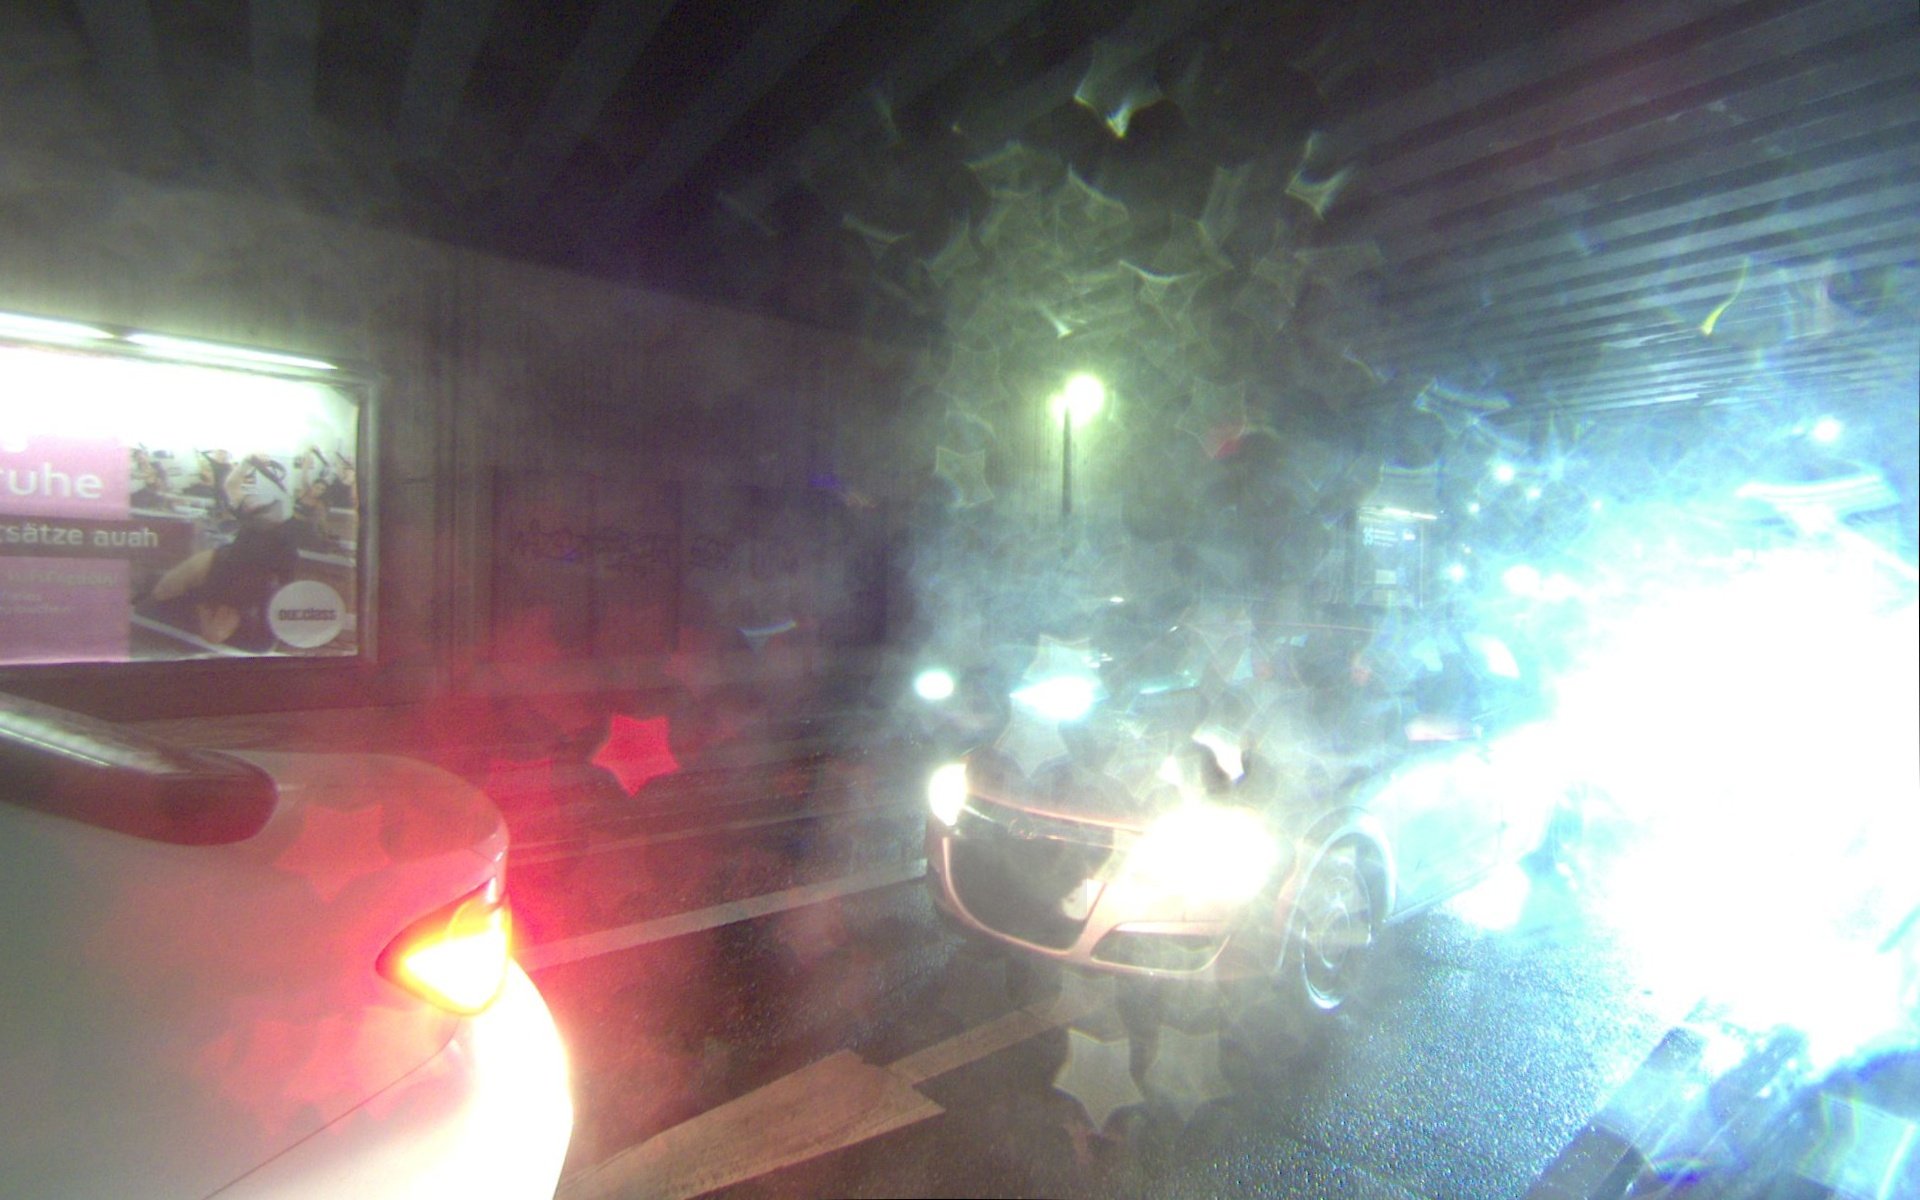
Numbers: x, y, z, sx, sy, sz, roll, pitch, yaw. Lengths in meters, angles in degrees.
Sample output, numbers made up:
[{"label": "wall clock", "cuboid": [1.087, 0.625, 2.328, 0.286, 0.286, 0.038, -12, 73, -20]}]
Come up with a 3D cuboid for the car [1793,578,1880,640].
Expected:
[{"label": "car", "cuboid": [24.579, 0.214, 28.357, 1.737, 1.610, 3.939, 0, 0, 42]}]

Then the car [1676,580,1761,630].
[{"label": "car", "cuboid": [24.674, 0.137, 32.854, 1.847, 1.474, 4.434, 1, 1, 42]}]

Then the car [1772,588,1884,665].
[{"label": "car", "cuboid": [18.743, 0.495, 21.802, 1.678, 1.490, 3.938, 0, 0, 43]}]

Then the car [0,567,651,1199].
[{"label": "car", "cuboid": [-2.692, 0.683, 0.978, 4.273, 1.422, 1.719, -1, 0, -41]}]

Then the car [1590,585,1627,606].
[{"label": "car", "cuboid": [45.891, -0.338, 71.684, 1.865, 1.490, 3.961, 0, 0, 28]}]

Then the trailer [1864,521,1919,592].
[{"label": "trailer", "cuboid": [59.715, -2.602, 60.820, 3.927, 4.229, 13.805, 0, 0, 24]}]

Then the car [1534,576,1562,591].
[{"label": "car", "cuboid": [57.045, -1.583, 98.230, 1.860, 1.490, 3.970, 0, 0, 22]}]

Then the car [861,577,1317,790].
[{"label": "car", "cuboid": [1.420, 0.563, 9.419, 1.838, 1.497, 4.554, 0, 0, 45]}]

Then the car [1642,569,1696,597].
[{"label": "car", "cuboid": [38.850, -0.955, 55.517, 1.837, 1.449, 4.460, 0, 2, 28]}]

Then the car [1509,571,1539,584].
[{"label": "car", "cuboid": [64.155, -2.530, 115.237, 1.853, 1.490, 3.986, 0, 0, 12]}]

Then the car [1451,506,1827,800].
[{"label": "car", "cuboid": [6.498, 0.357, 9.485, 4.274, 2.115, 1.996, -1, 0, -43]}]

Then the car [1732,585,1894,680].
[{"label": "car", "cuboid": [15.368, 0.507, 18.164, 3.930, 1.522, 1.628, -1, 0, -41]}]

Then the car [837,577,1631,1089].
[{"label": "car", "cuboid": [1.554, 0.619, 4.829, 3.931, 1.384, 1.791, -2, 2, -41]}]

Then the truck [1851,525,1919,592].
[{"label": "truck", "cuboid": [62.265, -2.667, 66.428, 3.927, 4.229, 6.324, 0, 0, 24]}]

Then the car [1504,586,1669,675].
[{"label": "car", "cuboid": [12.292, 0.528, 19.735, 1.848, 1.503, 4.556, 2, 1, 43]}]

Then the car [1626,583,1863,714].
[{"label": "car", "cuboid": [10.763, 0.548, 13.807, 3.701, 1.531, 1.867, -1, 0, -41]}]
